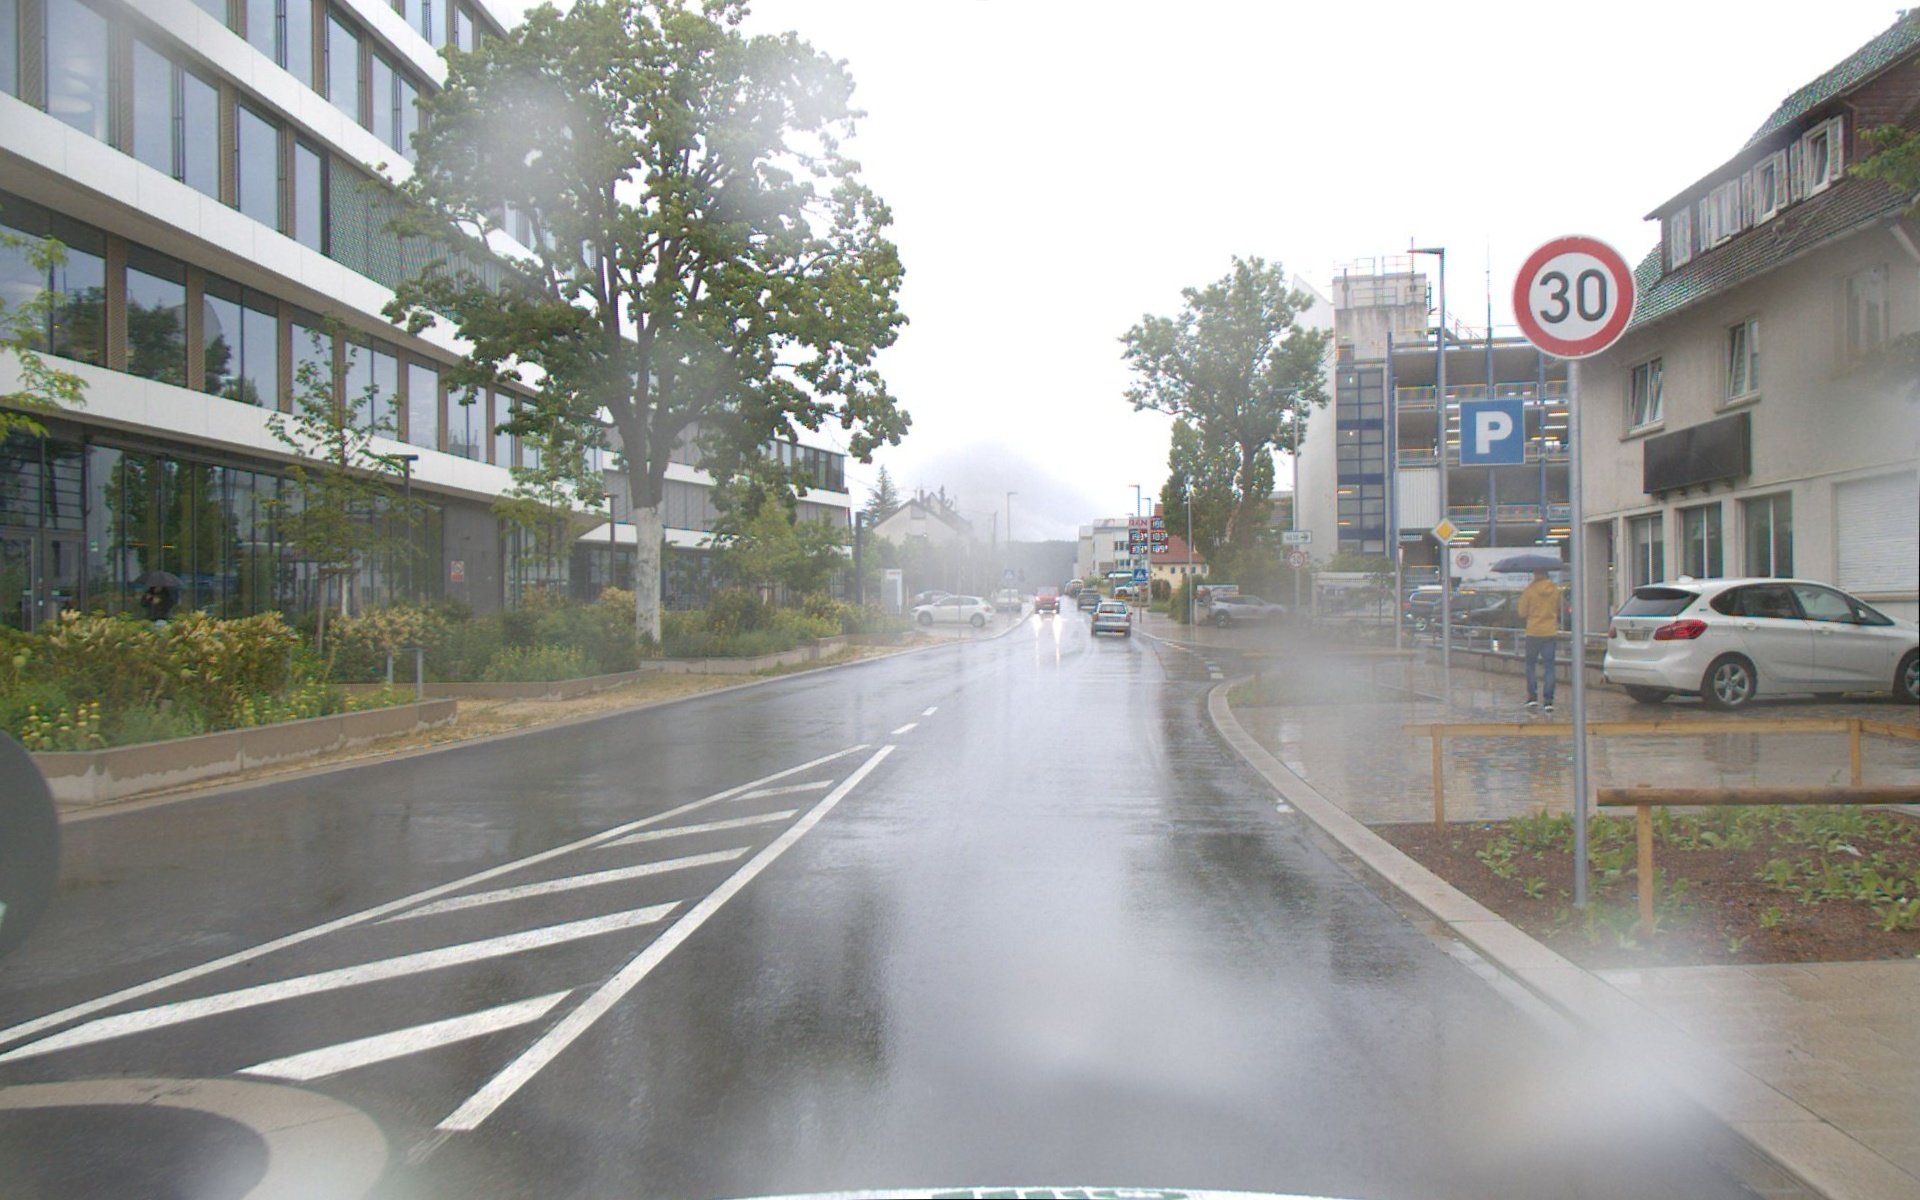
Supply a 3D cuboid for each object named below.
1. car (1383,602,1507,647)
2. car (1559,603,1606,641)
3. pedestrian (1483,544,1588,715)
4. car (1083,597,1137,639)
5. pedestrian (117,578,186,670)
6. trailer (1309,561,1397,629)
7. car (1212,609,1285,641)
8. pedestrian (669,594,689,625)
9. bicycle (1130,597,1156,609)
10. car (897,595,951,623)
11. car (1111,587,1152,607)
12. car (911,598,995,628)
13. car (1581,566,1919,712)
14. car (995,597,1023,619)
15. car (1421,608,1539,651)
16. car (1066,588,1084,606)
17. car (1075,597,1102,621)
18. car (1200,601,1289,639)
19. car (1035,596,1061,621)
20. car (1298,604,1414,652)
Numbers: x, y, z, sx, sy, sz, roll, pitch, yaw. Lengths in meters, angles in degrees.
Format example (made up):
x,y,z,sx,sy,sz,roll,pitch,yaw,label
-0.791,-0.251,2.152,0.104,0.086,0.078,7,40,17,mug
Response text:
x,y,z,sx,sy,sz,roll,pitch,yaw,label
18.689,0.950,63.860,4.265,1.680,1.845,0,-1,1,car
29.625,1.033,78.803,1.693,1.708,4.003,-1,0,15,car
7.166,0.364,20.641,0.841,2.049,1.195,-2,-1,2,pedestrian
6.386,0.793,70.865,1.908,1.583,4.000,4,-2,1,car
-15.944,0.485,32.641,0.709,1.733,0.957,3,-2,7,pedestrian
12.958,-0.167,54.664,2.644,2.209,1.549,0,-1,5,trailer
14.633,1.267,83.758,3.543,1.521,1.808,-1,-1,13,car
-16.406,0.553,96.561,0.992,1.754,0.772,1,0,1,pedestrian
18.414,0.303,166.115,0.661,1.085,3.596,5,-2,-27,bicycle
-3.208,0.805,146.478,4.660,2.049,1.998,4,-2,-4,car
17.928,-0.280,172.901,4.028,1.736,1.788,4,-2,0,car
-0.320,0.616,79.150,3.845,1.448,1.899,0,-1,4,car
10.179,0.445,20.671,4.054,1.608,1.995,-2,0,-11,car
3.674,0.582,124.035,1.952,1.657,4.155,0,0,3,car
18.439,1.034,58.771,3.649,1.474,1.731,0,-1,0,car
13.125,-0.364,189.041,1.952,1.736,4.001,4,-2,3,car
10.837,0.785,139.363,2.109,1.736,4.001,4,-2,3,car
13.970,0.987,81.089,4.117,1.678,2.002,-2,-1,13,car
6.644,0.655,125.097,1.961,1.850,4.981,0,-1,3,car
13.647,0.990,57.194,3.647,1.556,1.650,-1,-2,3,car
